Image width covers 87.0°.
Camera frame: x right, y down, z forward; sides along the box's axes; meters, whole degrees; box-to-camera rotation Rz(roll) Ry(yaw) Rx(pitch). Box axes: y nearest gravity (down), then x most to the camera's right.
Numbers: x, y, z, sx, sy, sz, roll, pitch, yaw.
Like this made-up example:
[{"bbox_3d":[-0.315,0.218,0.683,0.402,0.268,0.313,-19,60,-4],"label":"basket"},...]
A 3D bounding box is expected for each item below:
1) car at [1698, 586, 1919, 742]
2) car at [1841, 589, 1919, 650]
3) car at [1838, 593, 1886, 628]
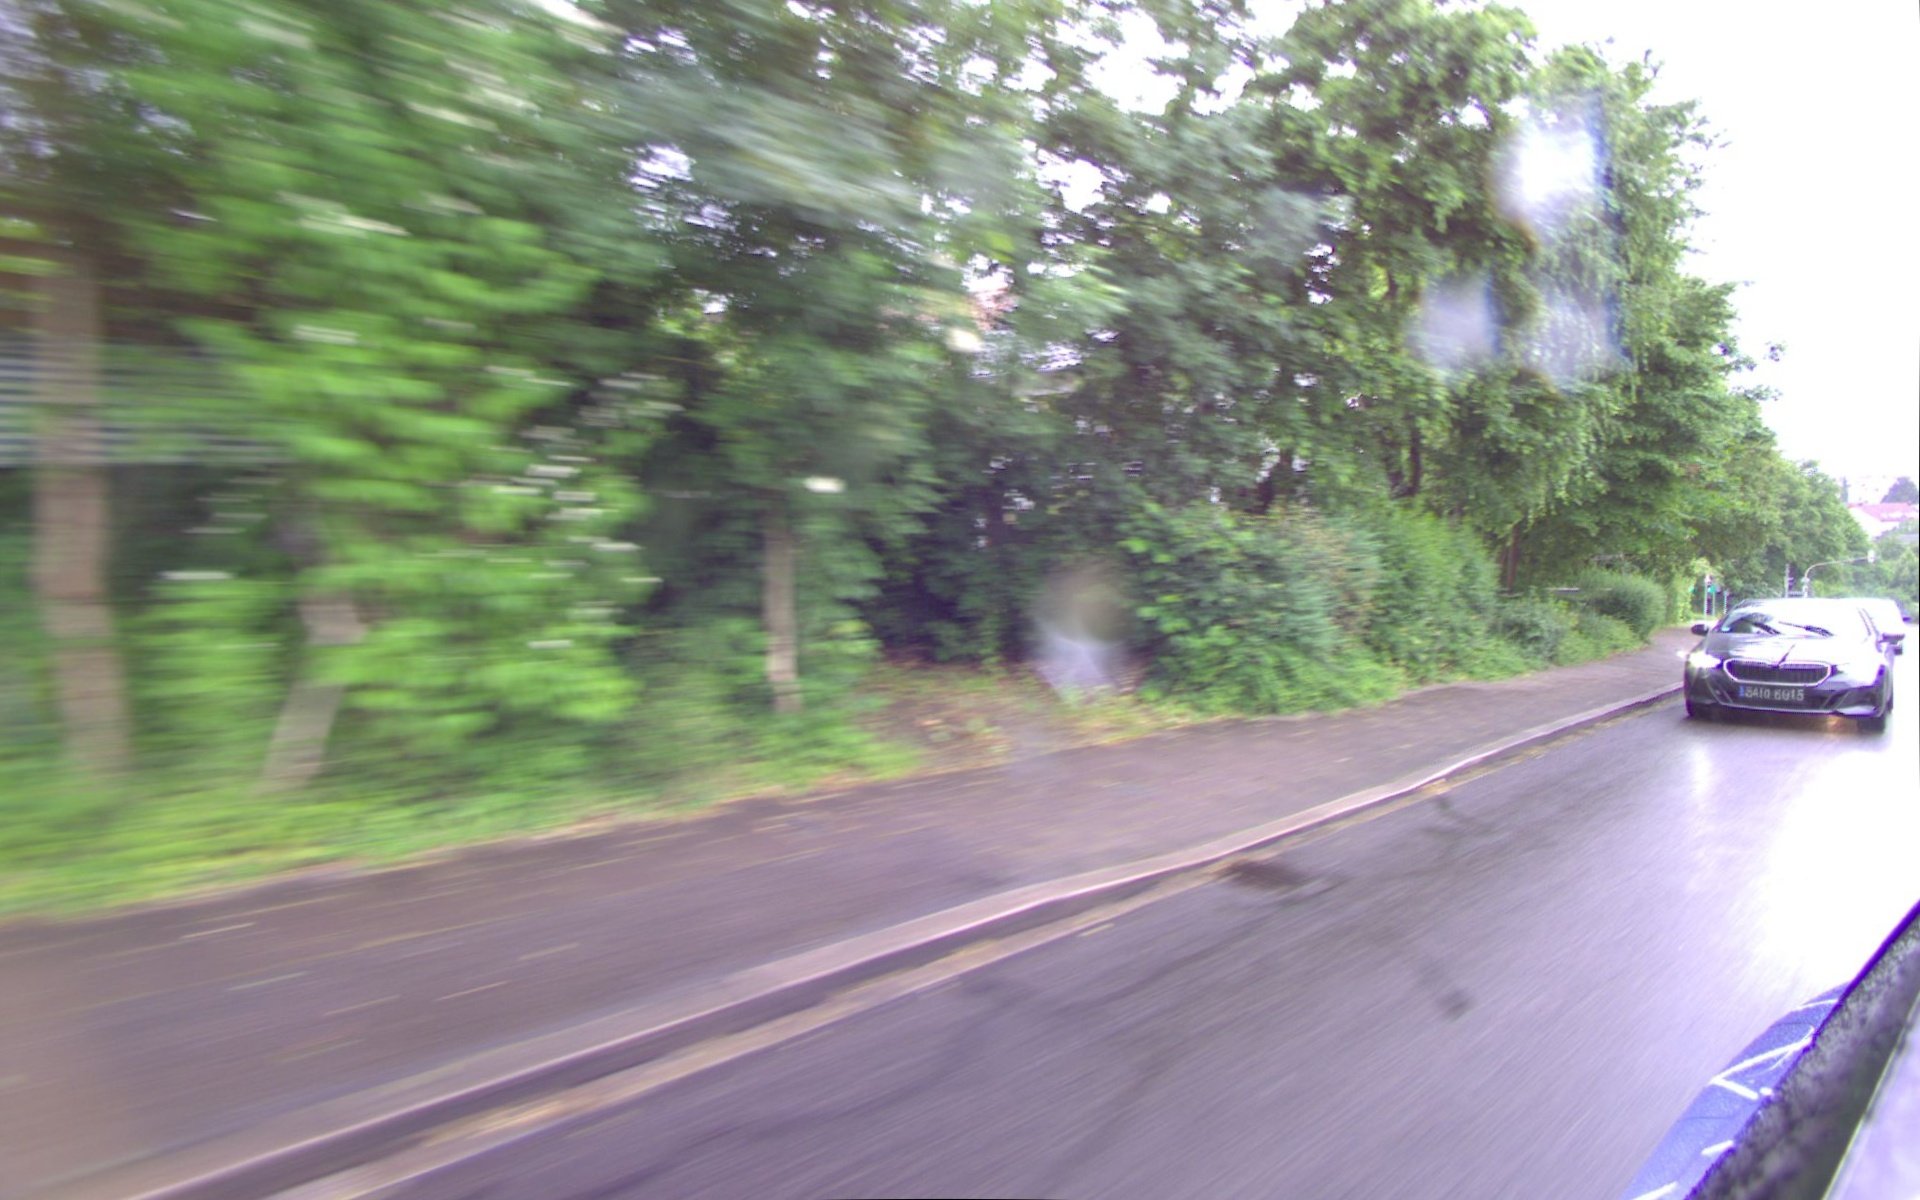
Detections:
[{"bbox_3d":[10.831,0.660,12.836,1.863,1.574,4.055,4,3,43],"label":"car"},{"bbox_3d":[26.922,0.537,29.420,1.810,1.575,4.055,4,2,43],"label":"car"},{"bbox_3d":[50.305,0.565,56.500,1.808,1.830,4.059,4,2,40],"label":"car"}]
